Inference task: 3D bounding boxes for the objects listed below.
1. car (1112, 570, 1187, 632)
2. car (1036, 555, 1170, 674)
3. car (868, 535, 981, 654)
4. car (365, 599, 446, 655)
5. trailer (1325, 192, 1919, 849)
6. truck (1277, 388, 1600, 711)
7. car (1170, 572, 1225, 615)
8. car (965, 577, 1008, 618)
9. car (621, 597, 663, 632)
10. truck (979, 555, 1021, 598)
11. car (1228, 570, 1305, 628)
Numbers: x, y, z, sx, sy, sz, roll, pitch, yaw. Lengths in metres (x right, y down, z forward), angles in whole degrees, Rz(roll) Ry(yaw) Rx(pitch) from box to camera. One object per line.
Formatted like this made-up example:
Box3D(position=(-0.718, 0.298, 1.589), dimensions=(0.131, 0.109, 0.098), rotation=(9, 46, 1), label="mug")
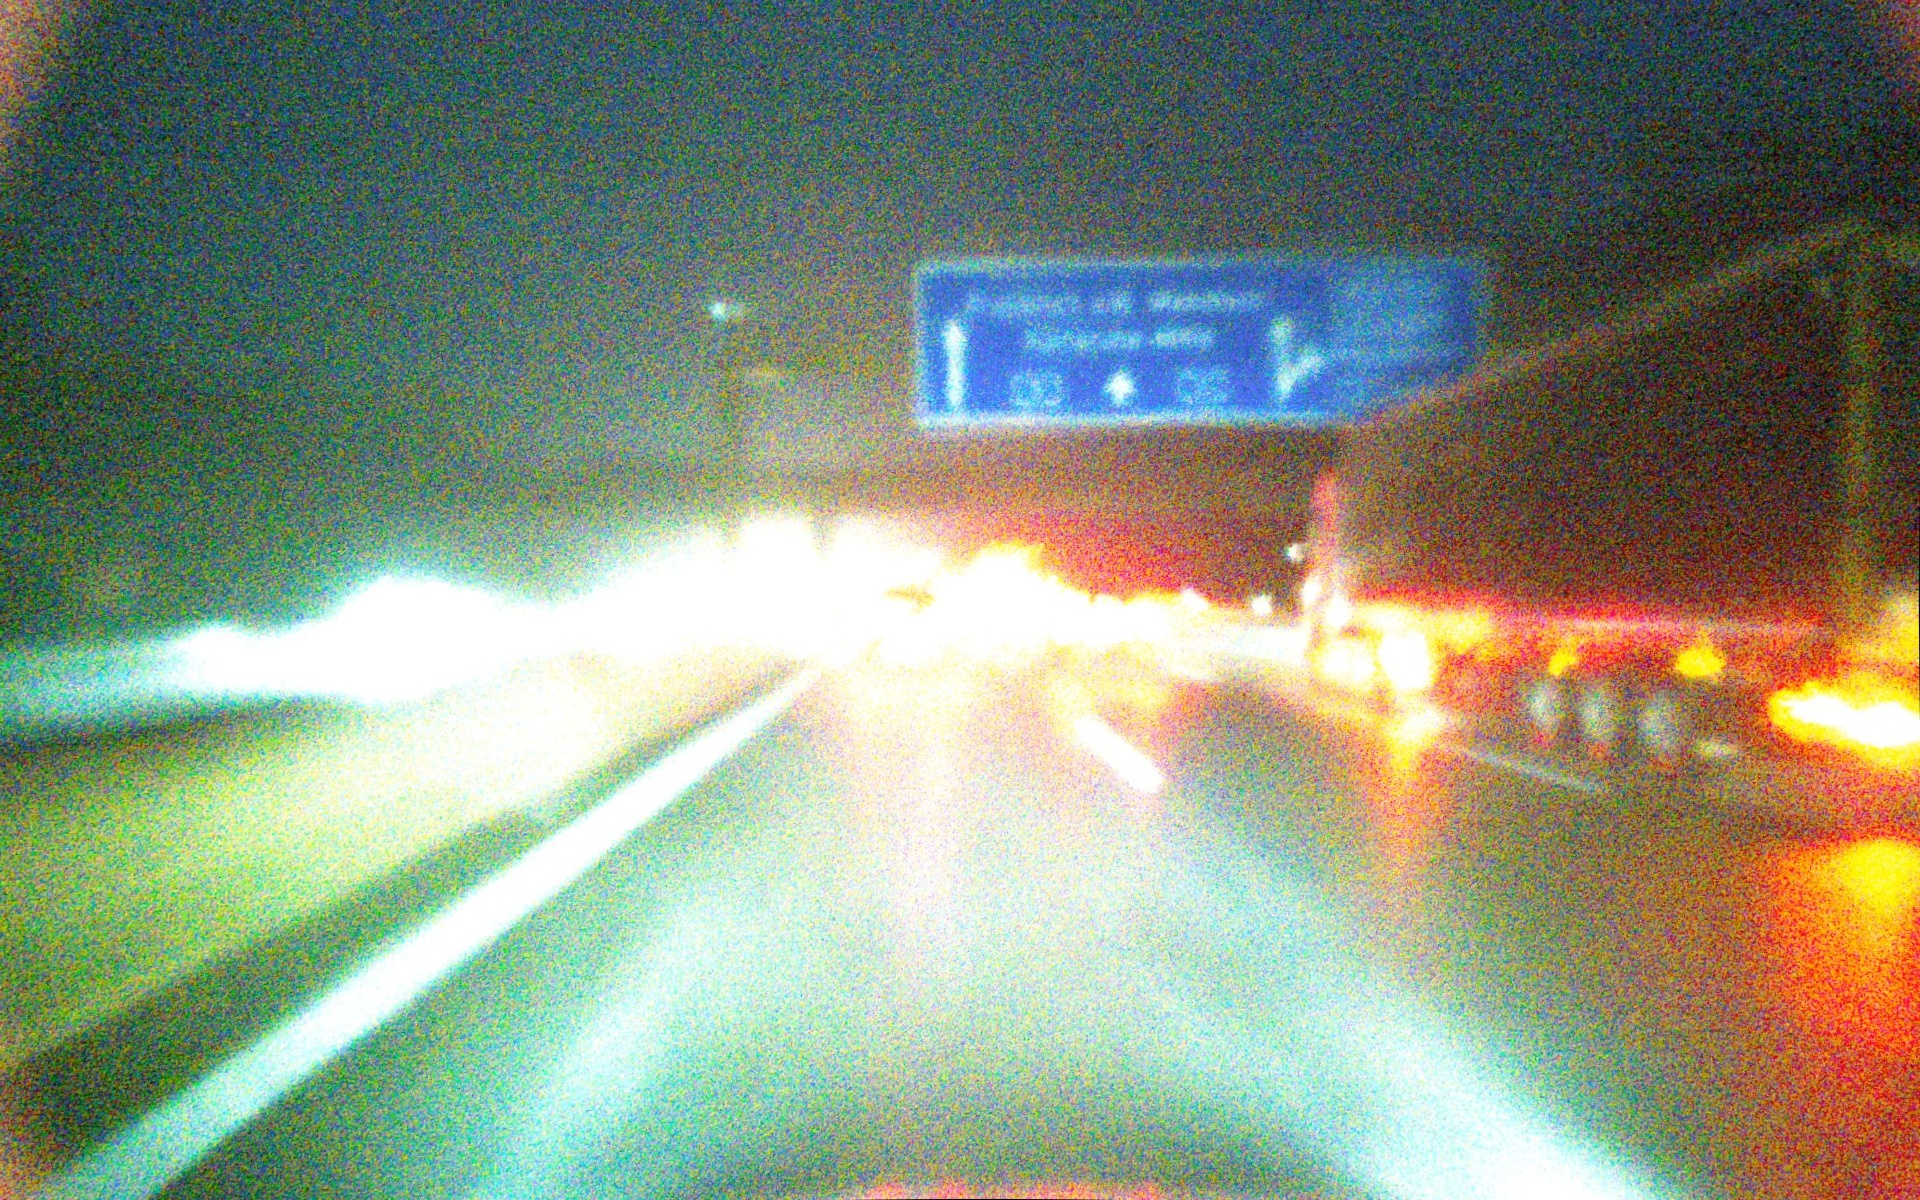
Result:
Box3D(position=(6.662, 0.021, 58.534), dimensions=(1.954, 2.049, 3.998), rotation=(-2, 1, -3), label="car")
Box3D(position=(2.636, 0.239, 31.398), dimensions=(1.954, 2.049, 3.998), rotation=(-2, 1, -3), label="car")
Box3D(position=(-0.656, -0.110, 30.988), dimensions=(1.953, 2.049, 3.999), rotation=(1, 0, -1), label="car")
Box3D(position=(-21.915, 1.052, 65.501), dimensions=(1.954, 2.049, 3.998), rotation=(-2, 1, -3), label="car")
Box3D(position=(7.027, -0.620, 17.511), dimensions=(2.979, 4.180, 13.826), rotation=(-2, 1, -1), label="trailer")
Box3D(position=(6.882, -0.702, 24.753), dimensions=(2.979, 4.180, 5.797), rotation=(-2, 1, -1), label="truck")
Box3D(position=(11.829, -0.333, 82.657), dimensions=(1.954, 2.049, 3.998), rotation=(-2, 1, -3), label="car")
Box3D(position=(1.342, -0.166, 86.857), dimensions=(1.954, 2.049, 3.998), rotation=(-2, 1, -3), label="car")
Box3D(position=(-19.859, 0.905, 103.297), dimensions=(1.954, 2.049, 3.998), rotation=(-2, 1, -3), label="car")
Box3D(position=(3.249, -1.919, 136.893), dimensions=(2.976, 3.355, 11.379), rotation=(-2, 1, -1), label="truck")
Box3D(position=(11.536, -0.062, 62.465), dimensions=(1.954, 2.049, 3.998), rotation=(-2, 1, -3), label="car")
